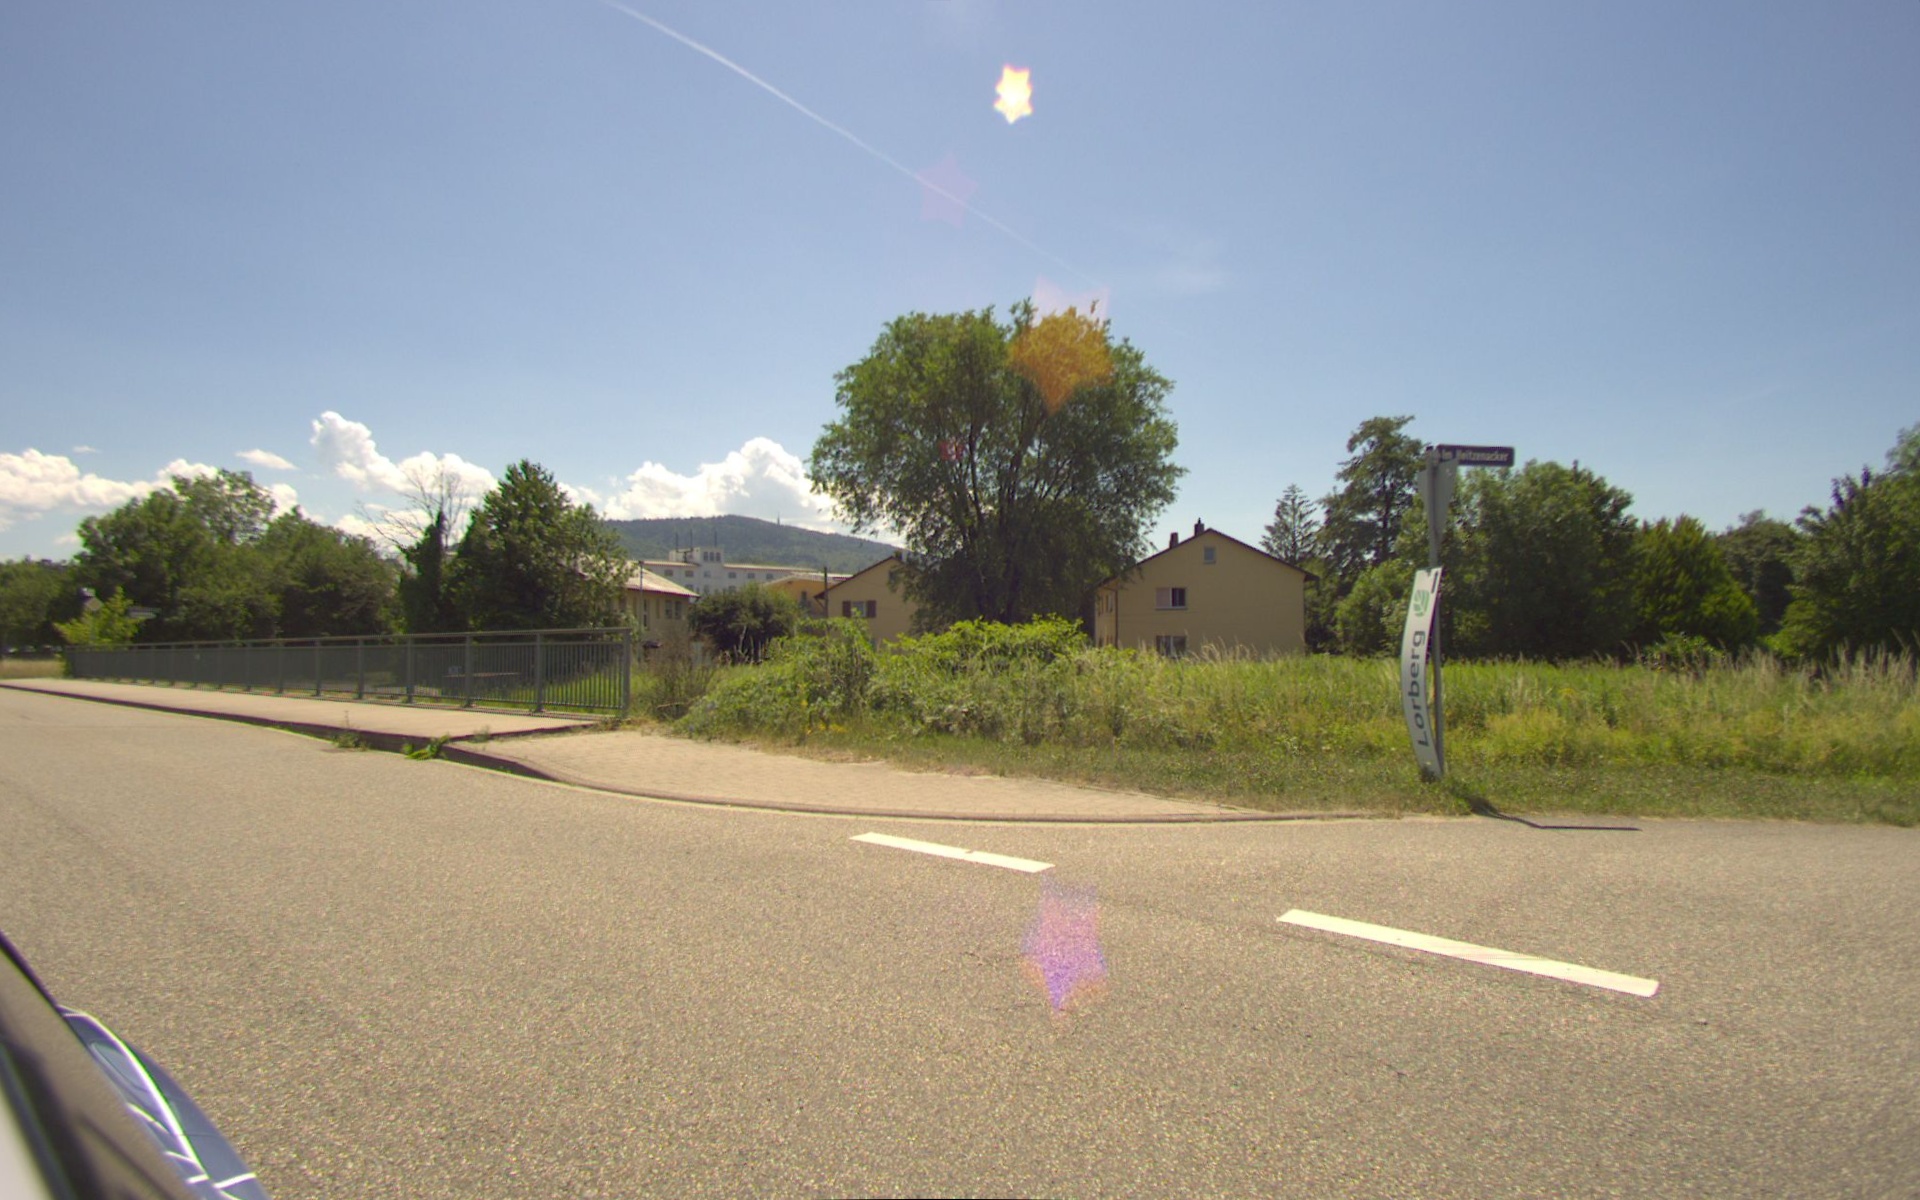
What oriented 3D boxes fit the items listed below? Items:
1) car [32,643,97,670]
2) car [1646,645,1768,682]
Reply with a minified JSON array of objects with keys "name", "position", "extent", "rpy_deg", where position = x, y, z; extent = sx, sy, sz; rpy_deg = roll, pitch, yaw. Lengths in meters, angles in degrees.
[{"name":"car","position":[-85.730,5.390,96.915],"extent":[4.613,2.352,2.001],"rpy_deg":[0,-1,-44]},{"name":"car","position":[33.444,2.847,45.385],"extent":[3.941,1.608,2.001],"rpy_deg":[0,-3,-2]}]
